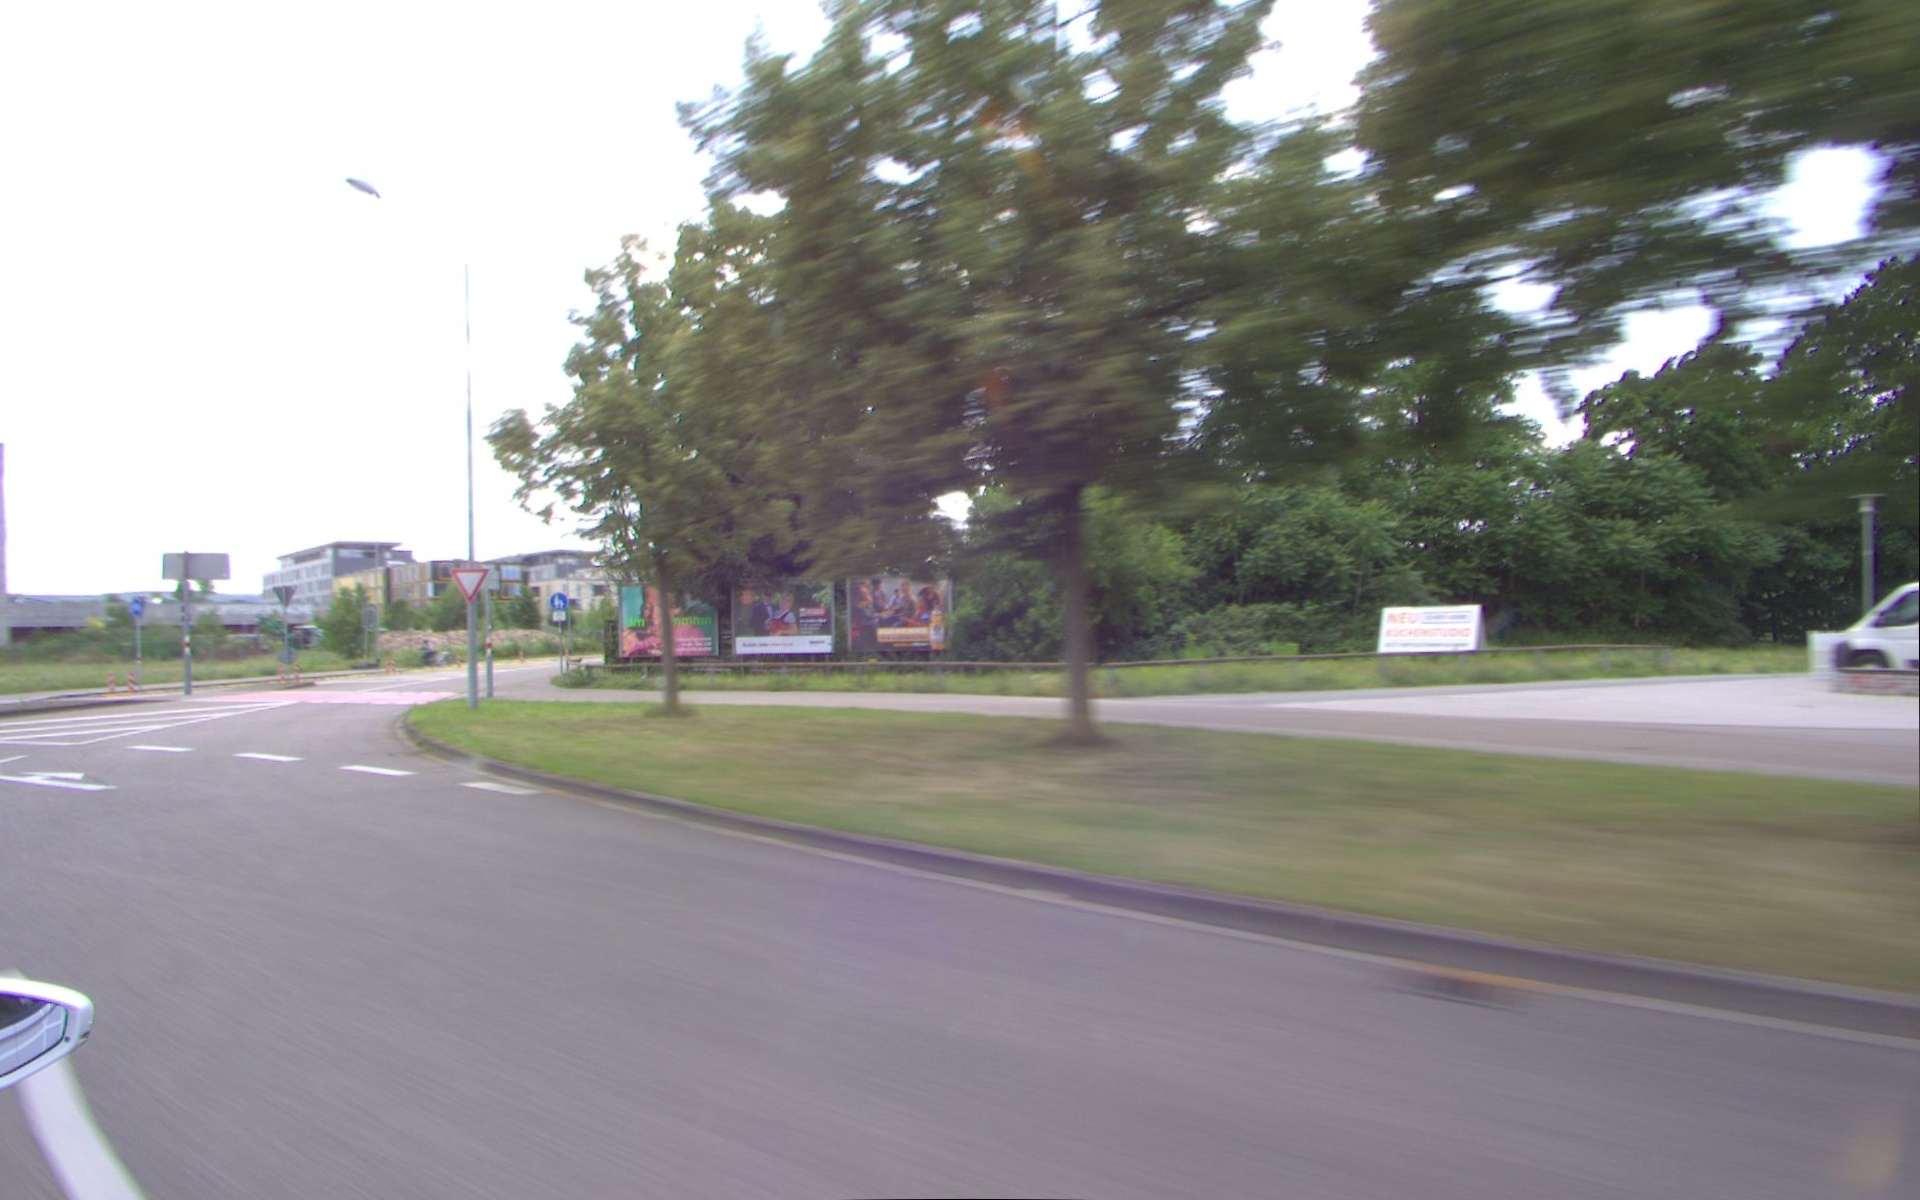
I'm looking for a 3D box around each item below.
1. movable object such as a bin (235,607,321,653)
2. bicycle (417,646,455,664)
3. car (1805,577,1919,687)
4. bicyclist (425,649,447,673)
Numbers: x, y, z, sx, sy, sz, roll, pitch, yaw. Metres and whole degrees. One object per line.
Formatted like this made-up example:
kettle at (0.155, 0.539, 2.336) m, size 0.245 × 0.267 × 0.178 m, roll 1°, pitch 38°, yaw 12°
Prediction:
movable object such as a bin at (-61.966, 2.825, 91.213) m, size 2.990 × 3.899 × 7.624 m, roll -1°, pitch -4°, yaw -4°
bicycle at (-30.723, 3.261, 58.778) m, size 0.859 × 1.030 × 2.547 m, roll -1°, pitch -4°, yaw 1°
car at (20.200, 0.616, 19.666) m, size 2.112 × 2.175 × 5.143 m, roll 0°, pitch -2°, yaw -18°
bicyclist at (-30.694, 3.570, 58.688) m, size 0.859 × 1.341 × 0.813 m, roll -1°, pitch -3°, yaw 3°
